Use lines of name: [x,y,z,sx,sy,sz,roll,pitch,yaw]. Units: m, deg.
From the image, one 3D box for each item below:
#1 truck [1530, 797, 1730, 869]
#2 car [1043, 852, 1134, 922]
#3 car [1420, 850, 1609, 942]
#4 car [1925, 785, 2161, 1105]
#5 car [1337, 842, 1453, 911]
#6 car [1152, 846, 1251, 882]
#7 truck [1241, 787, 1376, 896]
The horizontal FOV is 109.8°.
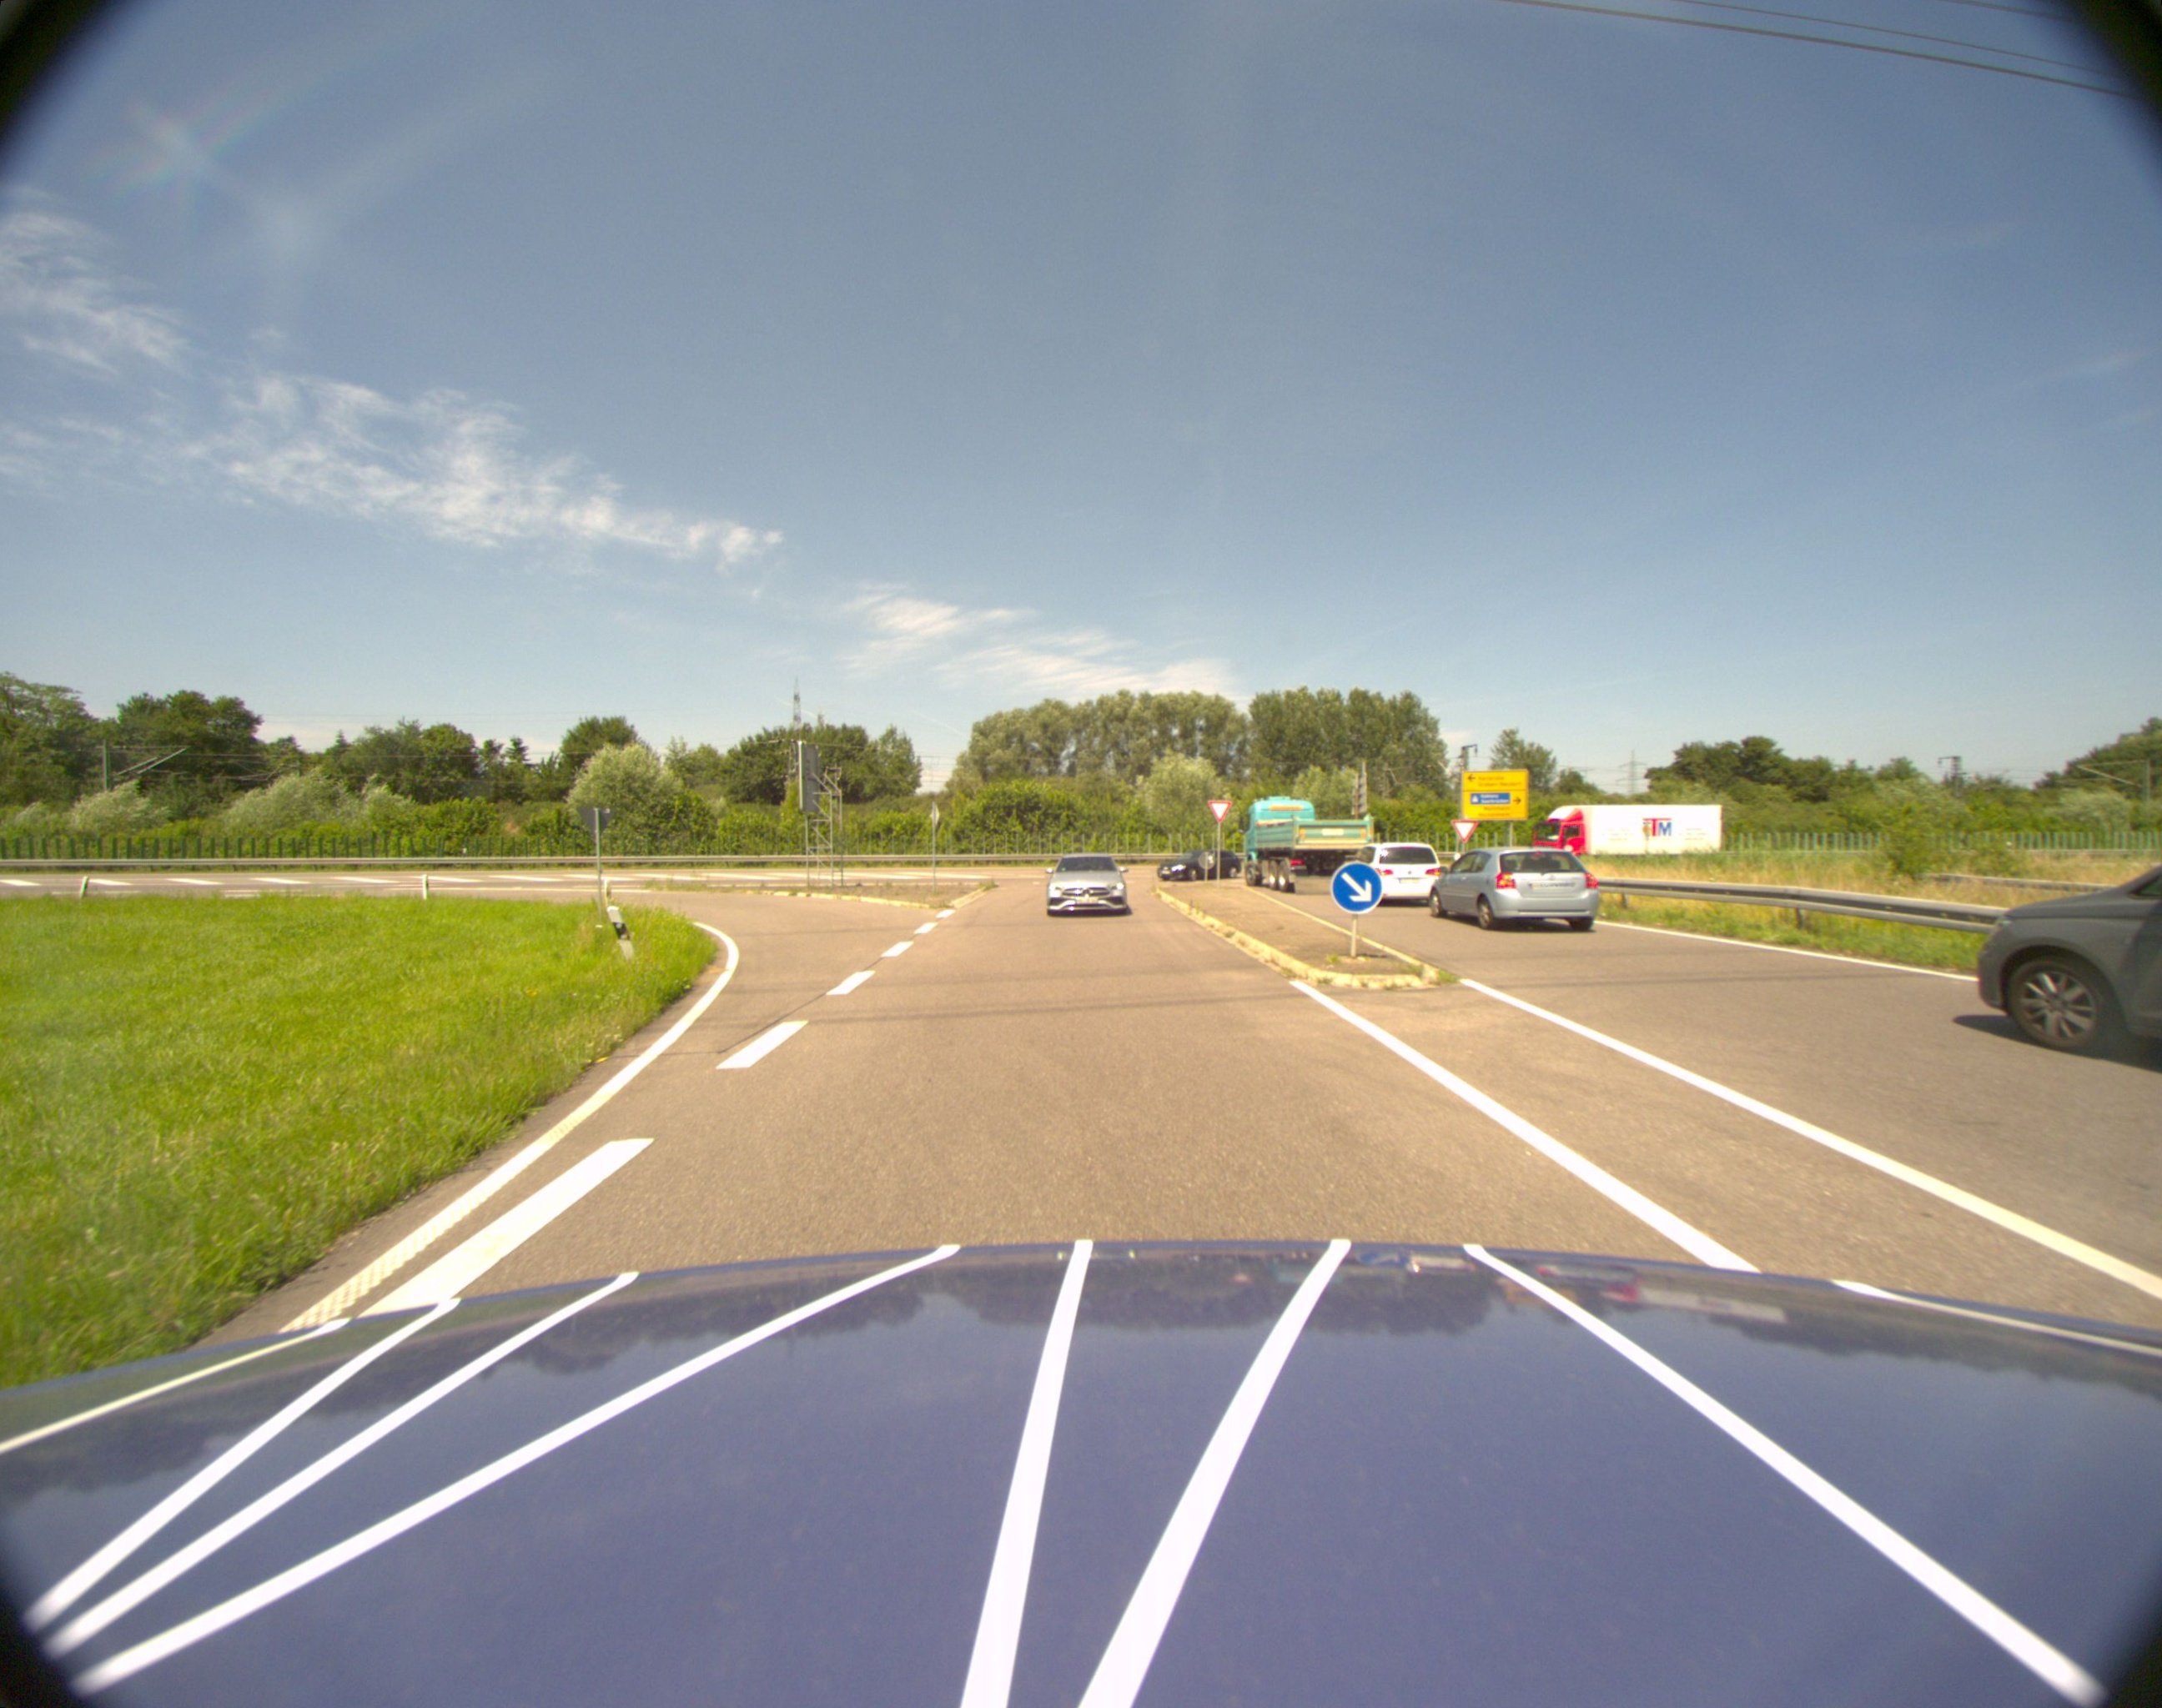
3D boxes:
truck: [30.298,-1.154,42.114,9.552,3.559,2.723,-2,1,-6]
car: [0.064,0.742,18.604,1.825,1.478,4.147,-1,0,-5]
car: [7.767,0.660,14.065,1.635,1.451,4.010,0,0,7]
car: [6.958,0.508,3.425,1.929,1.821,4.442,-1,0,11]
car: [8.242,0.528,20.358,1.775,1.611,4.333,-2,0,7]
car: [5.530,0.442,35.044,4.150,1.432,1.822,-1,4,-13]
truck: [7.972,-0.428,27.753,2.608,3.451,7.608,0,1,0]
